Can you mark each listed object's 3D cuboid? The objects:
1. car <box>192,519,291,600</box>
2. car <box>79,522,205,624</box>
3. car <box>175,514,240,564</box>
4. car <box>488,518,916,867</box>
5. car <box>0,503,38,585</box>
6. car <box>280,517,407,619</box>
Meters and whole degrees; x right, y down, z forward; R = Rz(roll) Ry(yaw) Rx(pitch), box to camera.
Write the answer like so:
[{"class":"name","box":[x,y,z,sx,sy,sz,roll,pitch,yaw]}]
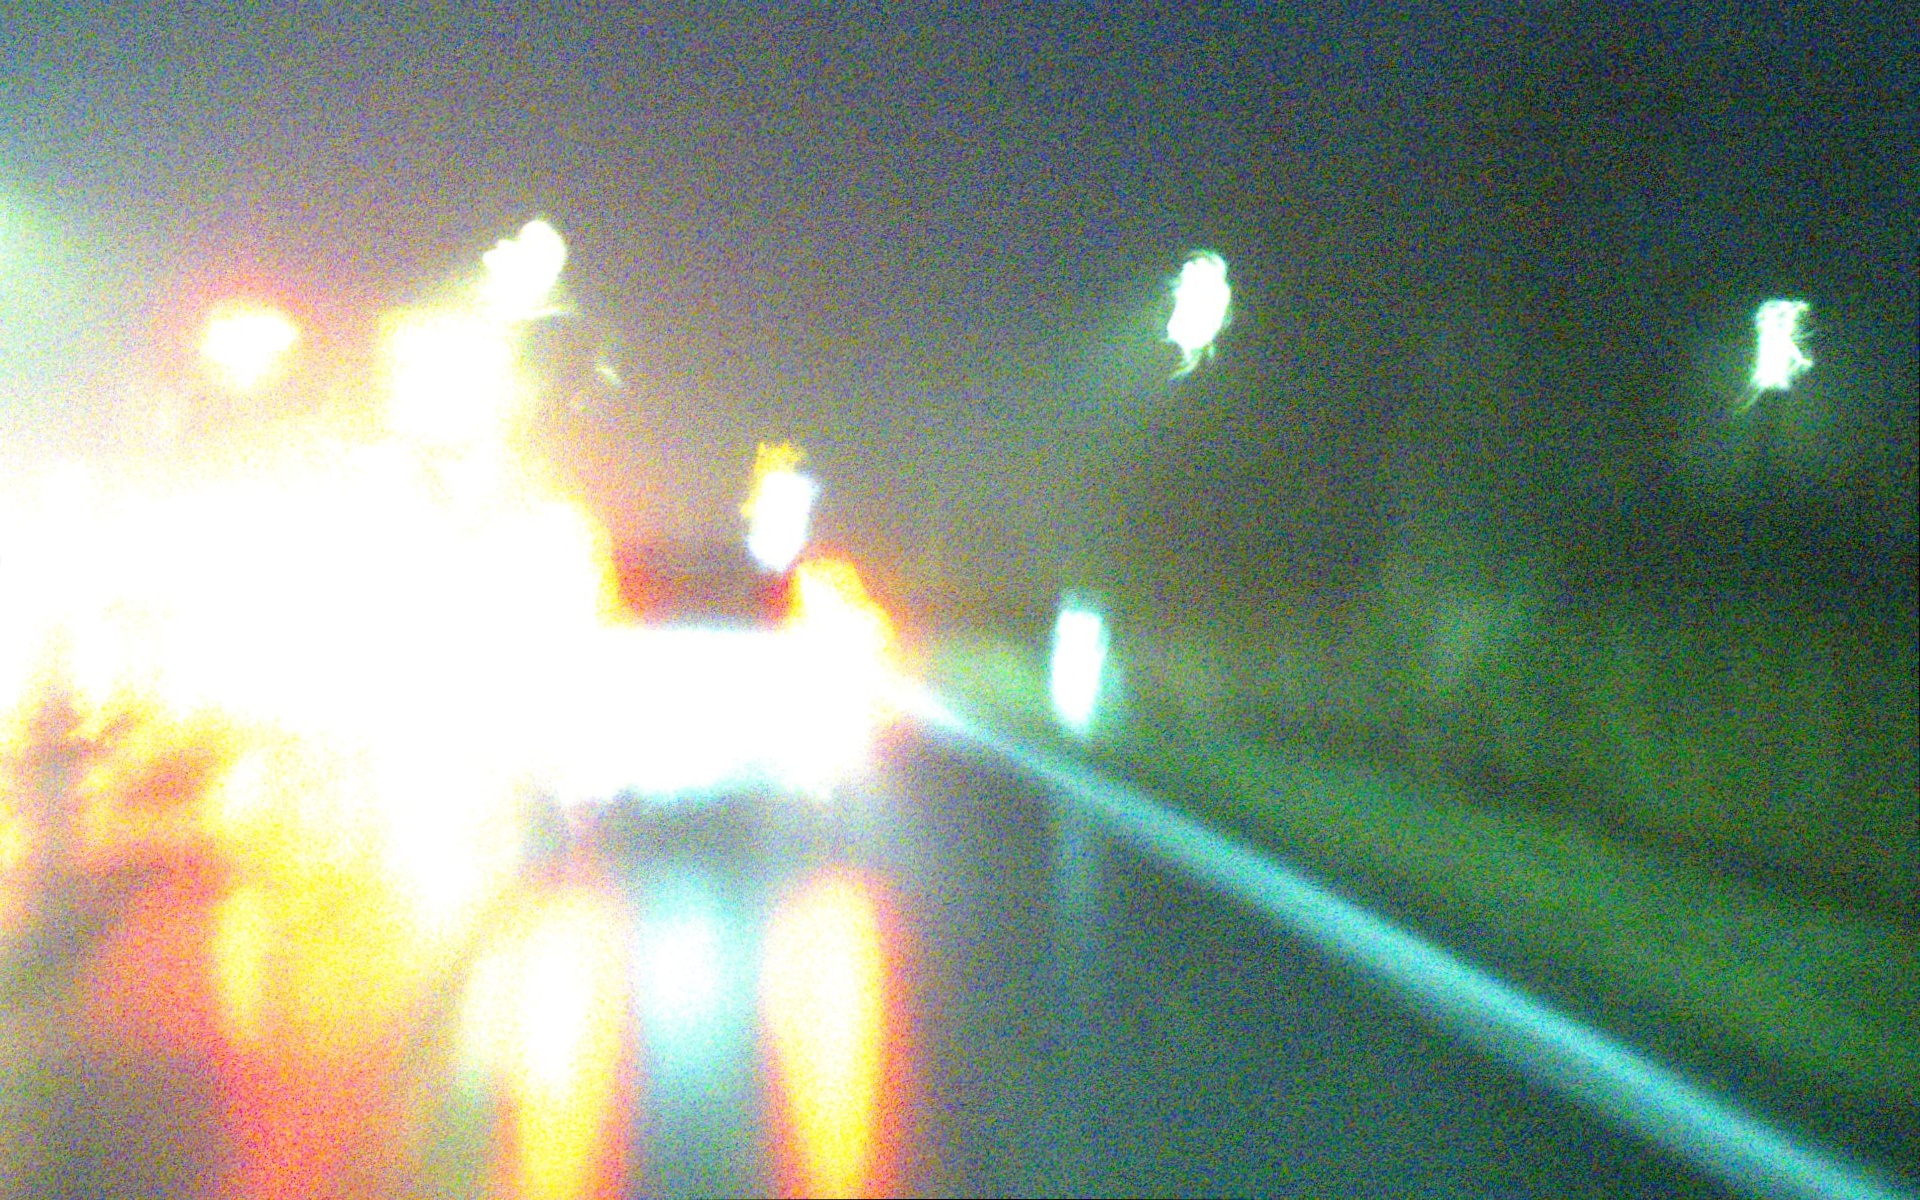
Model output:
[{"class":"car","box":[-15.887,-0.927,75.996,1.993,1.622,4.986,-2,2,-12]},{"class":"car","box":[-14.475,-0.516,61.024,1.993,1.622,4.986,-2,2,-12]},{"class":"car","box":[-26.513,-2.167,121.077,1.993,1.622,4.986,-2,2,-14]},{"class":"car","box":[-1.496,0.427,18.602,1.993,1.622,4.985,0,0,-7]},{"class":"car","box":[-20.377,-1.163,71.507,1.993,1.622,4.986,-2,2,-12]},{"class":"car","box":[-10.969,-0.609,60.922,1.993,1.622,4.986,-2,2,-12]}]
